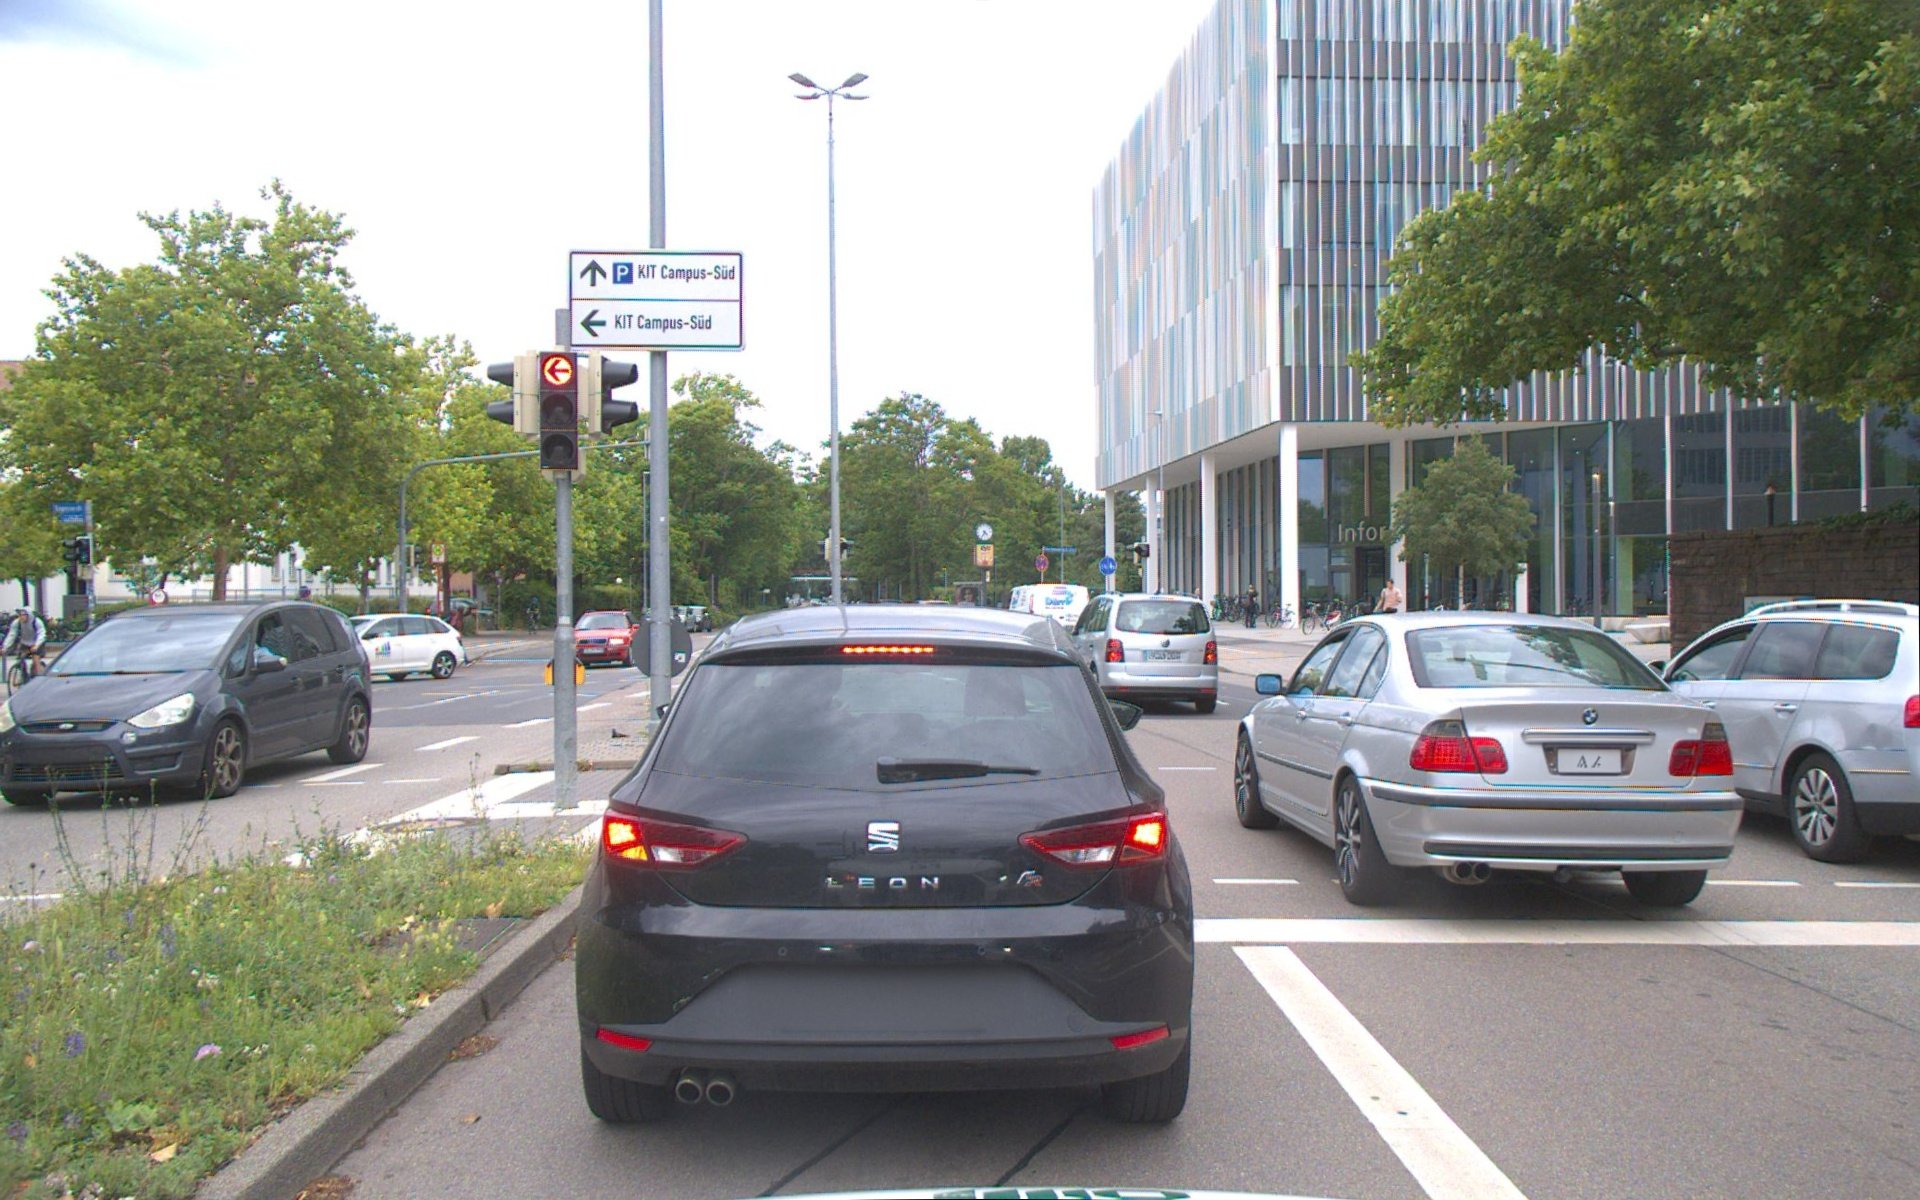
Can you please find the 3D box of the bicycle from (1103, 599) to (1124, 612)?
[{"bbox_3d":[9.936,0.364,107.025,1.218,0.837,0.479,2,-1,-23],"label":"bicycle"}]

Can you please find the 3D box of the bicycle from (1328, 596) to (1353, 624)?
[{"bbox_3d":[15.534,0.401,67.423,0.607,1.064,1.704,-2,1,25],"label":"bicycle"}]

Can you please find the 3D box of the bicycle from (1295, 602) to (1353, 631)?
[{"bbox_3d":[12.416,0.548,56.384,1.860,0.914,0.693,-2,1,-22],"label":"bicycle"}]

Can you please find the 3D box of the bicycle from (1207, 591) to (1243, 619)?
[{"bbox_3d":[12.472,0.237,77.922,1.758,1.232,0.563,-3,1,-35],"label":"bicycle"}]

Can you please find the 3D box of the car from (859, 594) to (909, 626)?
[{"bbox_3d":[-4.210,0.530,91.353,1.883,1.693,4.097,-2,1,-15],"label":"car"}]

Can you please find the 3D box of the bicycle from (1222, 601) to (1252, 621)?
[{"bbox_3d":[12.771,0.492,76.189,1.421,0.872,0.361,-2,1,-28],"label":"bicycle"}]

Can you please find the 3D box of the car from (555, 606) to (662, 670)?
[{"bbox_3d":[-8.903,0.928,42.260,1.678,1.443,4.295,-2,1,1],"label":"car"}]

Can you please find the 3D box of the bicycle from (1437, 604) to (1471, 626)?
[{"bbox_3d":[18.190,0.551,60.923,1.515,0.728,0.511,-3,1,-44],"label":"bicycle"}]

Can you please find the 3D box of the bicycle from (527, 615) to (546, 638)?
[{"bbox_3d":[-19.948,1.238,77.923,0.478,1.023,1.590,1,1,-1],"label":"bicycle"}]

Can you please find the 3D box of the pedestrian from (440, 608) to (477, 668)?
[{"bbox_3d":[-13.874,1.050,45.754,0.858,1.614,0.542,-2,0,-8],"label":"pedestrian"}]

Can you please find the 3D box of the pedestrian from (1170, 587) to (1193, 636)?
[{"bbox_3d":[7.581,0.392,56.607,0.673,1.668,0.632,1,0,-1],"label":"pedestrian"}]

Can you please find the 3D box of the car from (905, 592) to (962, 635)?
[{"bbox_3d":[-1.121,0.542,68.219,1.913,1.652,3.742,1,1,-8],"label":"car"}]

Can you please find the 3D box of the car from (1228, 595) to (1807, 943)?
[{"bbox_3d":[2.726,0.716,9.173,1.687,1.439,4.244,1,1,-1],"label":"car"}]

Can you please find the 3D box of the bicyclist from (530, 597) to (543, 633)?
[{"bbox_3d":[-19.938,0.711,77.907,0.481,1.653,0.588,1,1,-2],"label":"bicyclist"}]

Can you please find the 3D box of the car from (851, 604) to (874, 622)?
[{"bbox_3d":[-8.302,1.121,140.662,1.861,1.377,3.879,-2,1,-4],"label":"car"}]

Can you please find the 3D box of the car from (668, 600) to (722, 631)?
[{"bbox_3d":[-15.363,0.889,96.136,1.721,1.615,4.004,-2,1,12],"label":"car"}]

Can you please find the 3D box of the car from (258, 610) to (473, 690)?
[{"bbox_3d":[-12.677,1.033,35.503,1.673,1.456,4.218,-2,1,31],"label":"car"}]

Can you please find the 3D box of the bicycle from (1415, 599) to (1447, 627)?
[{"bbox_3d":[17.548,0.489,61.599,0.682,0.963,1.981,-2,1,29],"label":"bicycle"}]

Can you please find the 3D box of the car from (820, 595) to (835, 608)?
[{"bbox_3d":[-16.565,0.227,206.399,1.663,1.530,4.003,-2,1,-7],"label":"car"}]

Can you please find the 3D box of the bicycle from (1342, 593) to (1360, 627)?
[{"bbox_3d":[15.283,0.377,64.626,0.515,1.275,1.667,-2,1,17],"label":"bicycle"}]

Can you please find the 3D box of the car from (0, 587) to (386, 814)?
[{"bbox_3d":[-6.919,0.794,15.002,1.882,1.693,4.398,-2,0,-1],"label":"car"}]

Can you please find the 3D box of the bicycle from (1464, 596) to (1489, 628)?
[{"bbox_3d":[18.706,0.434,59.888,0.792,1.074,1.950,-2,1,19],"label":"bicycle"}]

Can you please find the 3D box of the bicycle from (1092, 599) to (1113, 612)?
[{"bbox_3d":[9.402,0.367,109.126,1.241,0.863,0.479,2,-1,-23],"label":"bicycle"}]

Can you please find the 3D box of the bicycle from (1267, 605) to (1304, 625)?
[{"bbox_3d":[13.749,0.633,69.888,1.450,0.761,0.565,-2,0,-4],"label":"bicycle"}]

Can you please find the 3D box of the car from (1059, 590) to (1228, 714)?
[{"bbox_3d":[2.551,0.676,23.858,1.695,1.631,4.102,0,0,-4],"label":"car"}]

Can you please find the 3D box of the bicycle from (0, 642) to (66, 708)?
[{"bbox_3d":[-16.113,1.280,28.636,0.654,1.081,1.614,1,-1,-12],"label":"bicycle"}]

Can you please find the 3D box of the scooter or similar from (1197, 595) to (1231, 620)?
[{"bbox_3d":[12.064,0.364,78.494,1.655,1.126,0.493,-3,1,-33],"label":"scooter or similar"}]

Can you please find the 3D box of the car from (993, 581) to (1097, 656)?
[{"bbox_3d":[2.334,0.486,46.671,1.931,2.007,4.332,1,0,-11],"label":"car"}]

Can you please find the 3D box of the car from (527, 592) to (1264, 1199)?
[{"bbox_3d":[-0.103,0.717,5.767,1.717,1.457,3.770,1,0,1],"label":"car"}]

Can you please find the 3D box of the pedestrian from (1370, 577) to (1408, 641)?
[{"bbox_3d":[12.273,0.243,47.322,0.830,1.795,0.767,-2,0,-1],"label":"pedestrian"}]

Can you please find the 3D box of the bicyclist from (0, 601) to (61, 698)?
[{"bbox_3d":[-16.108,0.851,28.664,0.654,1.664,0.958,1,-1,-13],"label":"bicyclist"}]

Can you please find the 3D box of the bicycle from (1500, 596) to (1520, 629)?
[{"bbox_3d":[19.613,0.434,58.977,0.609,1.074,1.950,-2,1,19],"label":"bicycle"}]

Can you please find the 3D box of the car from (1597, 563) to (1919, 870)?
[{"bbox_3d":[5.871,0.654,10.763,1.787,1.578,4.527,1,-1,1],"label":"car"}]

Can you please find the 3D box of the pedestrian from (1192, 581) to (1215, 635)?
[{"bbox_3d":[8.337,0.269,56.745,0.673,1.812,0.677,0,0,-1],"label":"pedestrian"}]

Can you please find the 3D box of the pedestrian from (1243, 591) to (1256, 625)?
[{"bbox_3d":[12.050,0.340,68.903,0.462,1.385,0.446,-2,0,9],"label":"pedestrian"}]

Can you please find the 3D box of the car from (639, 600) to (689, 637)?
[{"bbox_3d":[-15.360,0.945,86.080,1.868,1.747,3.999,-2,1,-1],"label":"car"}]
